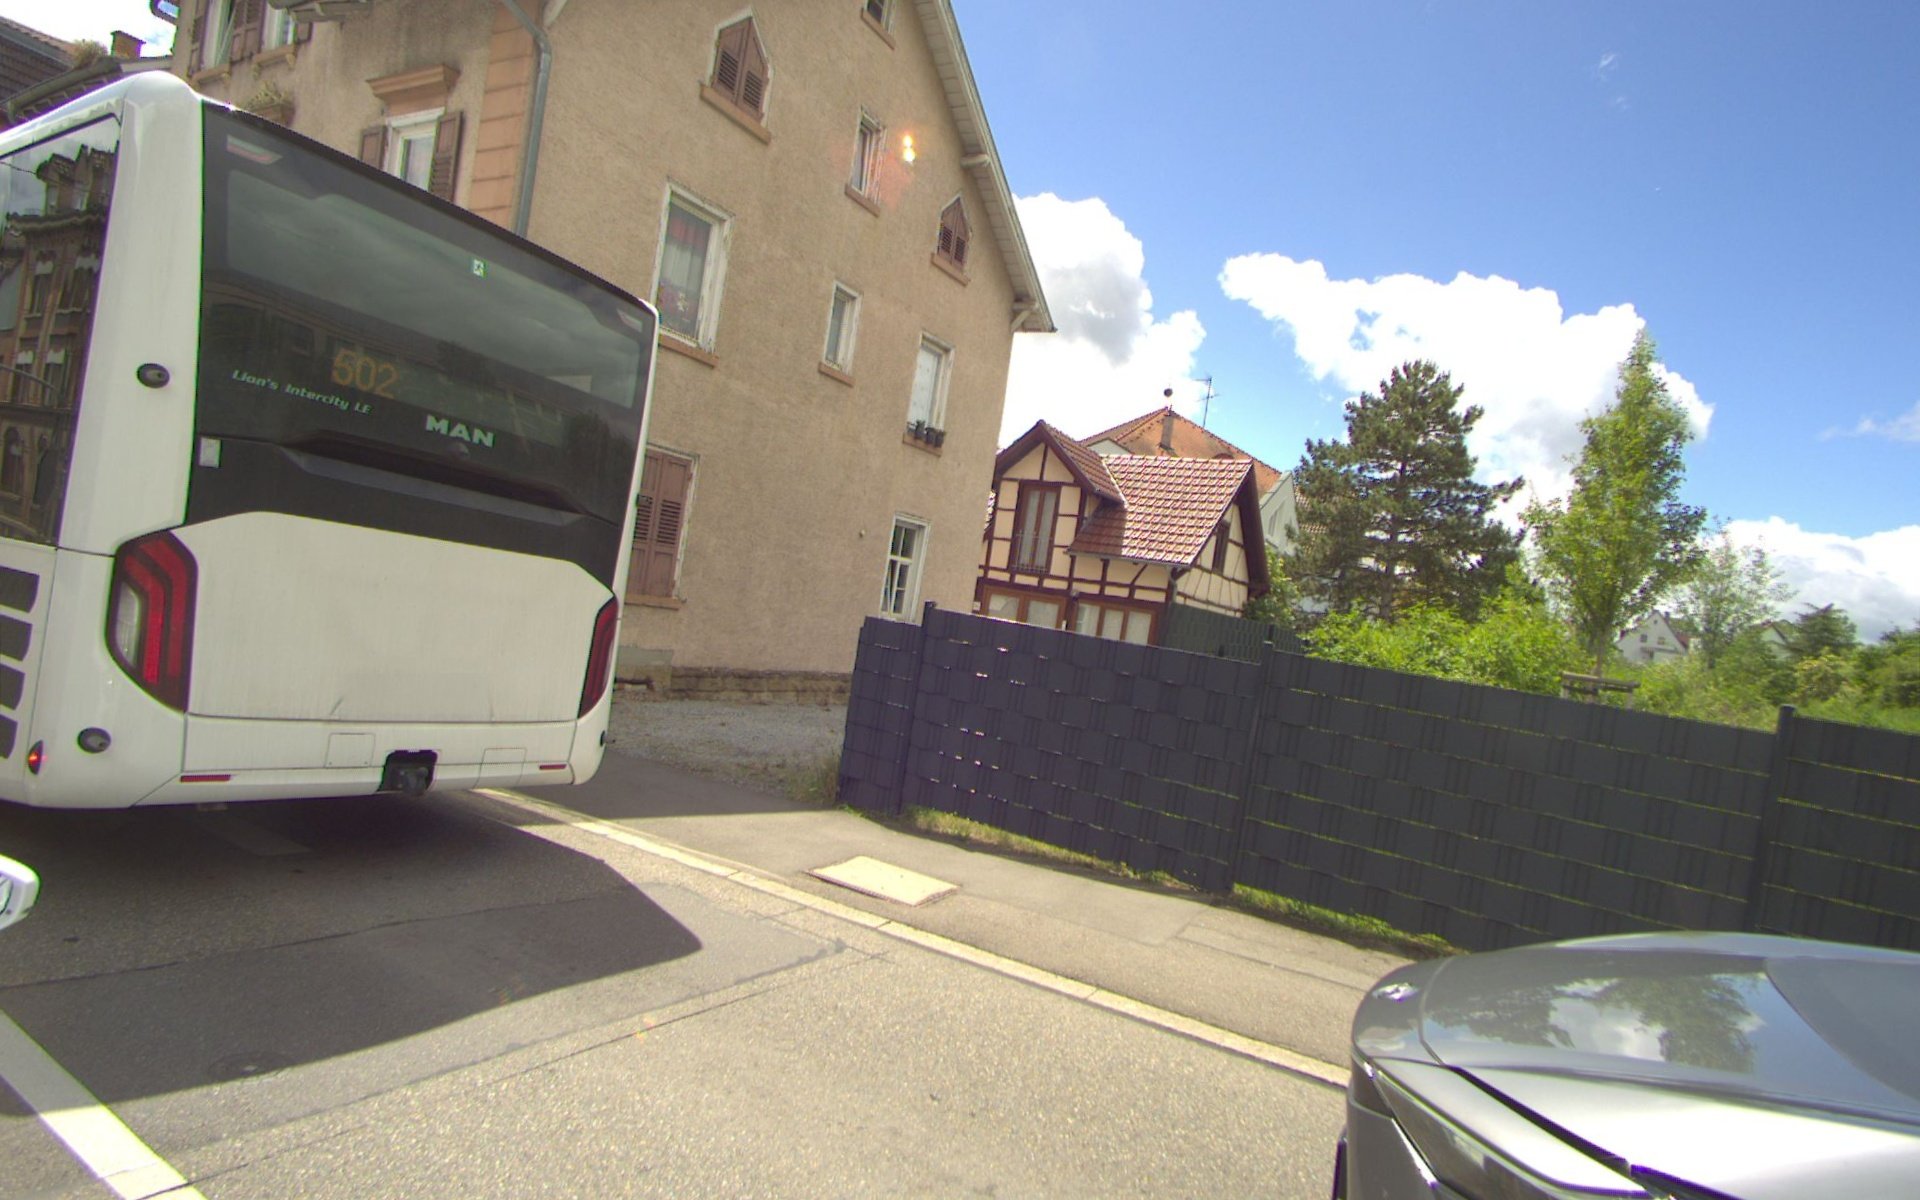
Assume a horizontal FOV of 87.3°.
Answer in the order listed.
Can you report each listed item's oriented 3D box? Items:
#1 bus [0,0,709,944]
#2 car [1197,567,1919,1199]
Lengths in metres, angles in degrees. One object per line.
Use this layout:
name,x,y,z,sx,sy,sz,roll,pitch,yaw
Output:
bus,-7.417,-0.949,7.676,12.255,3.194,2.676,7,0,32
car,2.763,1.114,0.998,4.605,1.631,1.924,7,-2,32
